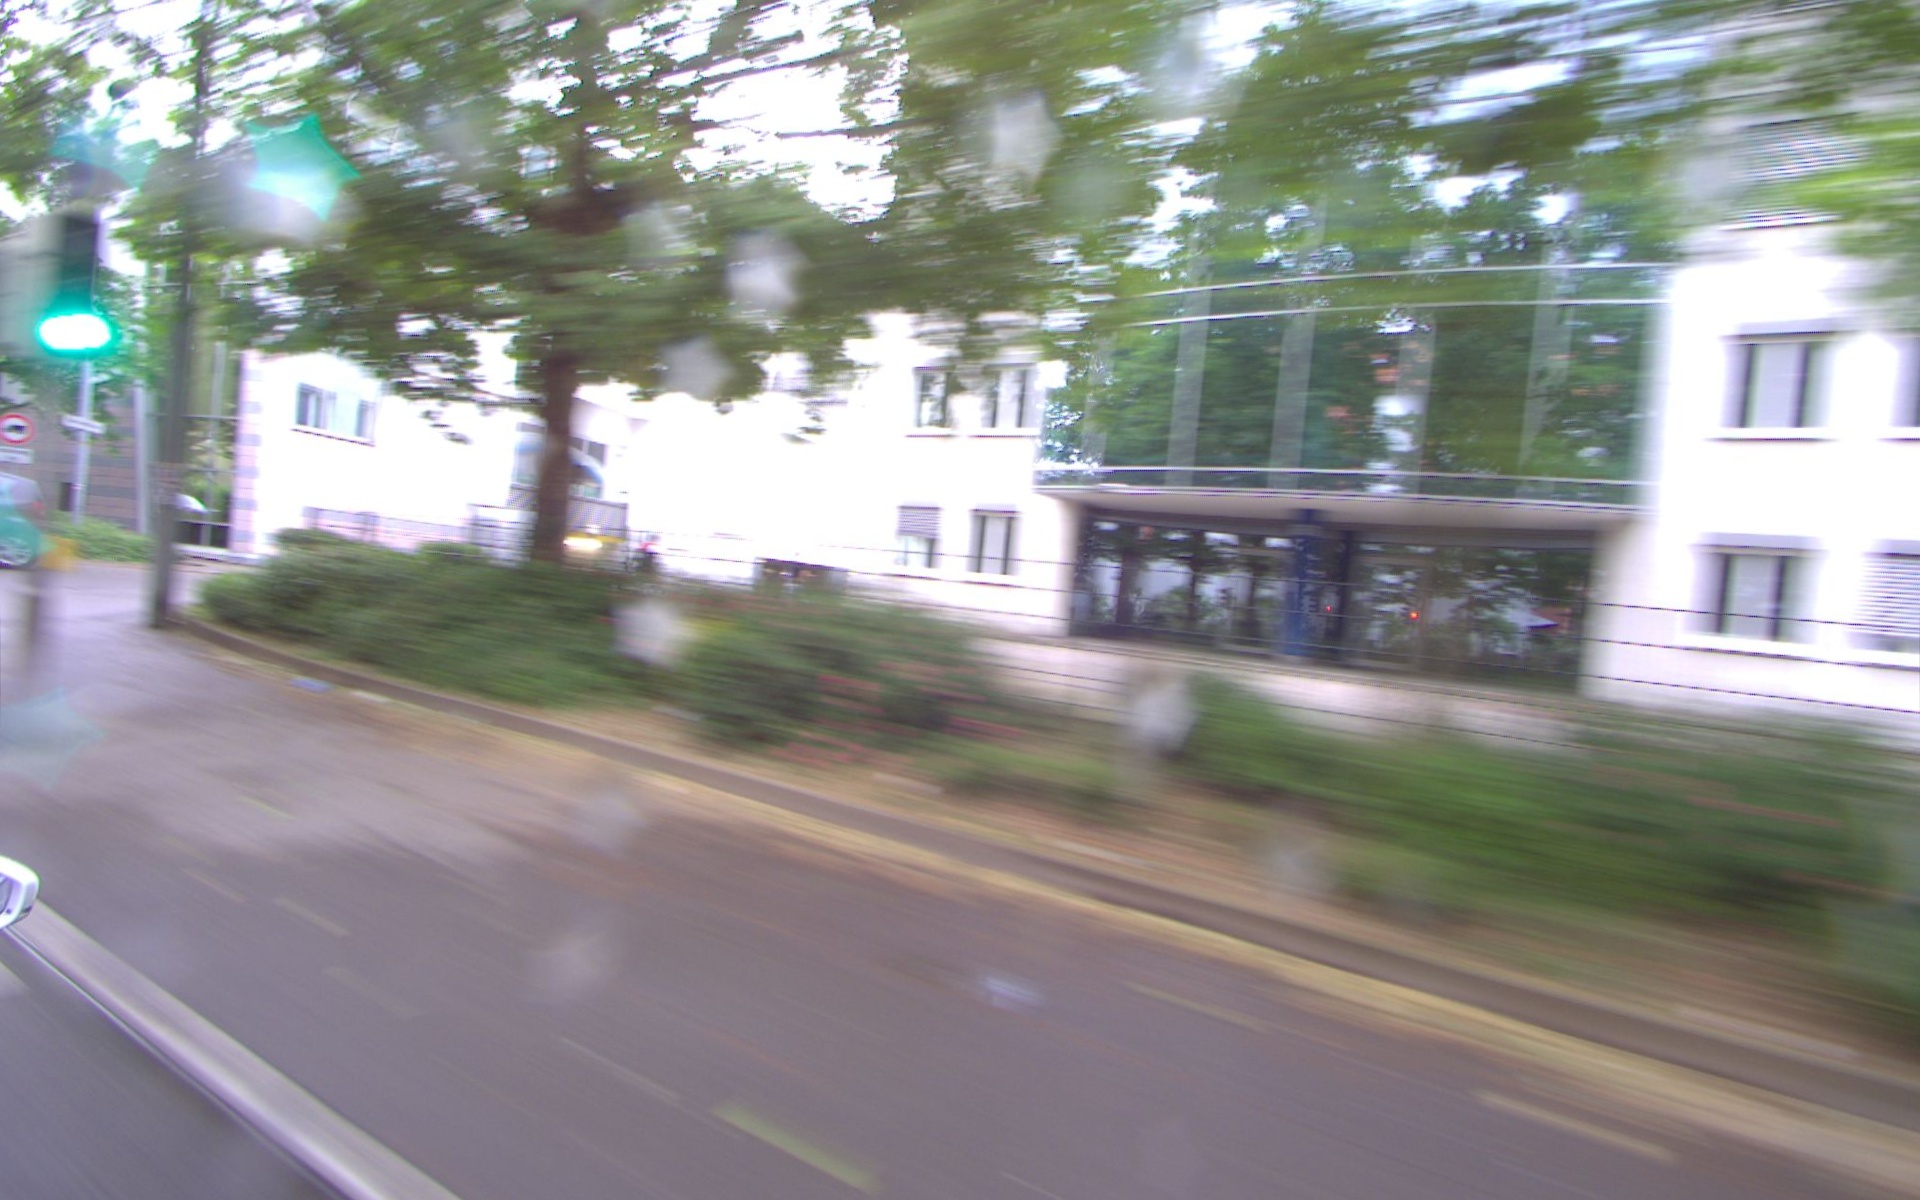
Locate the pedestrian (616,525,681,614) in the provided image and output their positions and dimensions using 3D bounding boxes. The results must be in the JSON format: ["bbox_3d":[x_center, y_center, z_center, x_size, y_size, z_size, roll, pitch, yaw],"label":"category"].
[{"bbox_3d":[-6.881,-0.665,22.232,0.945,1.851,0.829,5,1,35],"label":"pedestrian"}]

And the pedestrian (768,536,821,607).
[{"bbox_3d":[-4.047,-0.691,24.675,0.691,1.638,0.917,8,2,35],"label":"pedestrian"}]

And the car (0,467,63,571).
[{"bbox_3d":[-16.182,-1.364,14.884,1.990,1.568,3.852,7,3,25],"label":"car"}]
